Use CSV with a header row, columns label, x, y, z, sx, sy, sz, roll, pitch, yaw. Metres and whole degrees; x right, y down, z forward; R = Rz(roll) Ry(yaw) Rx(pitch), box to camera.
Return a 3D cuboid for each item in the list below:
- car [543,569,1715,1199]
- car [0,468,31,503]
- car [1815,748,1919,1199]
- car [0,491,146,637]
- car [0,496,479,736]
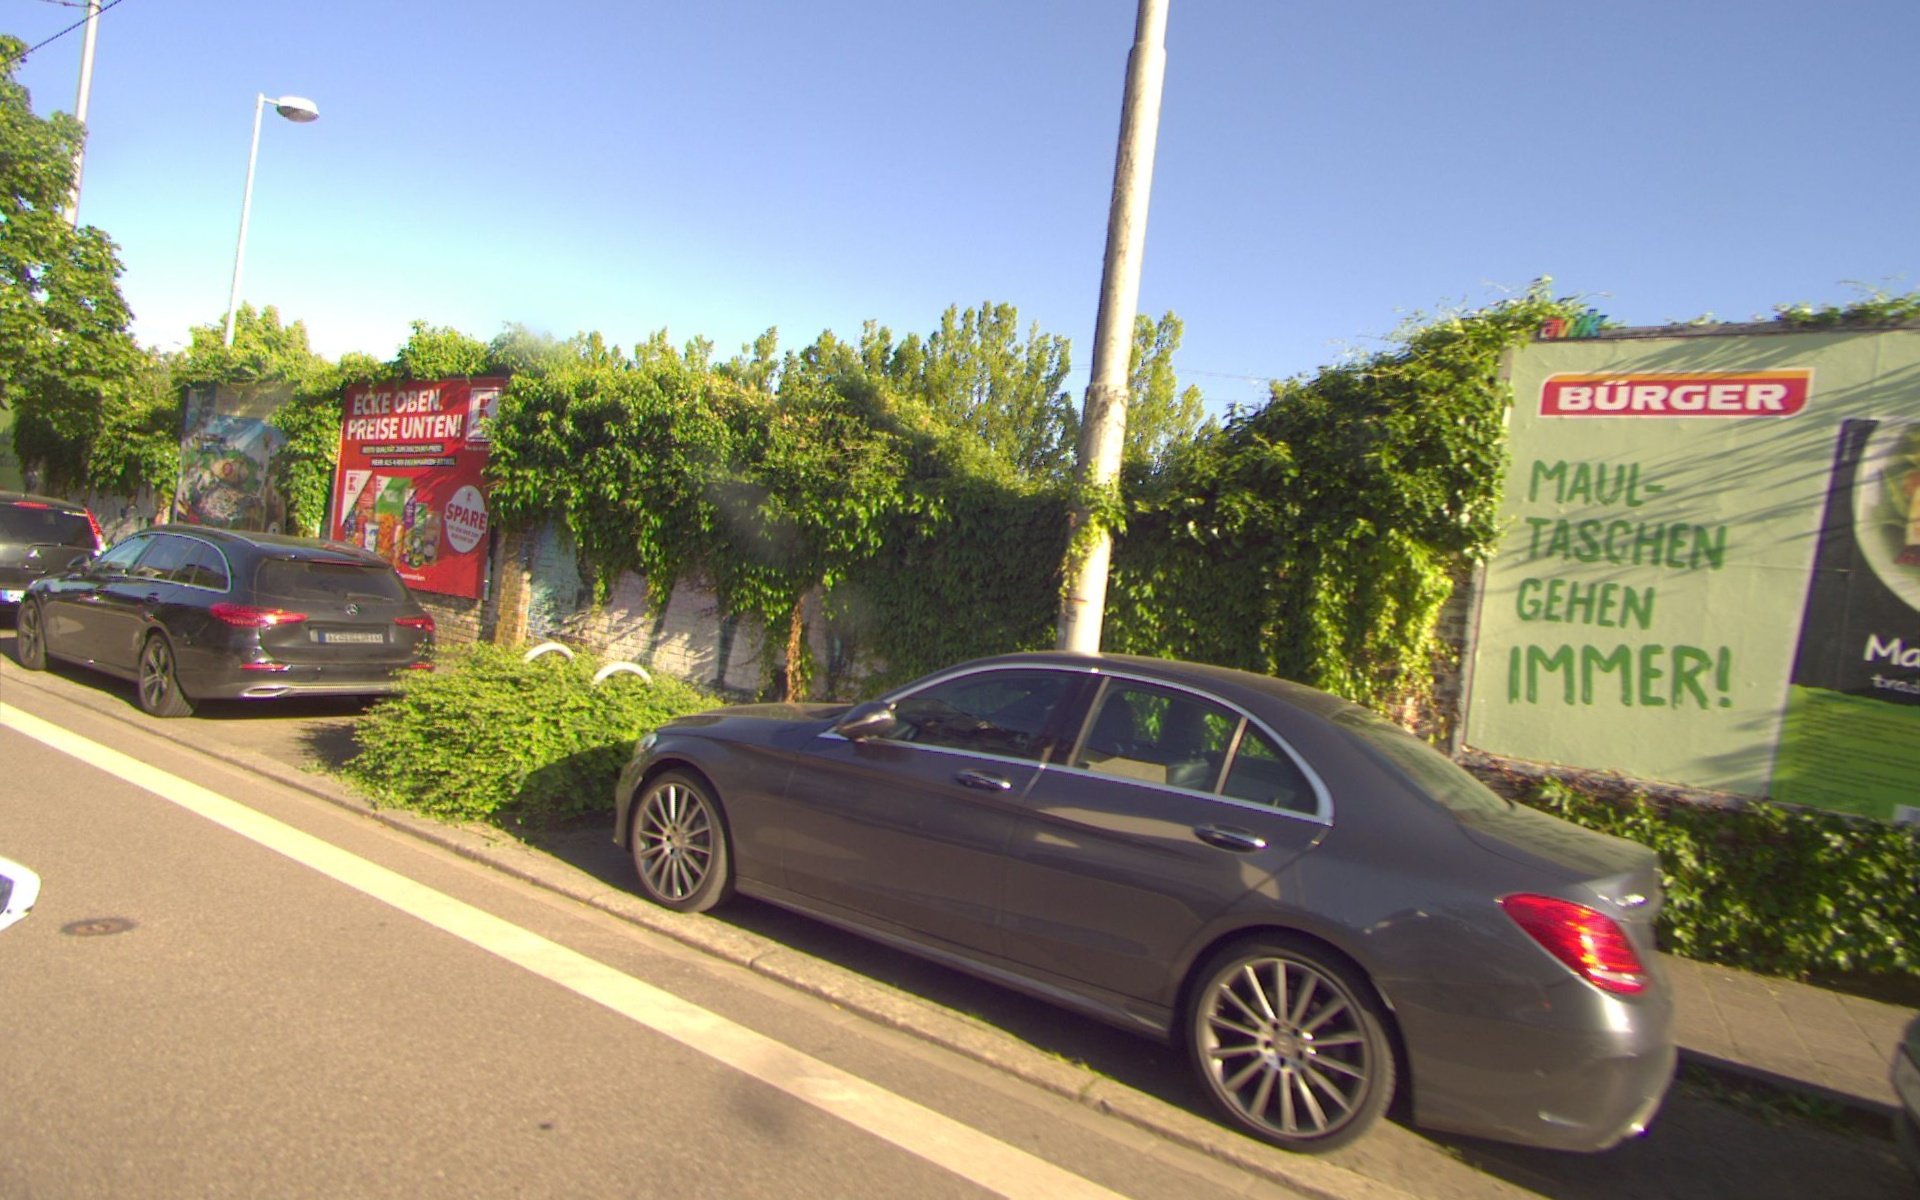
label,x,y,z,sx,sy,sz,roll,pitch,yaw
car,0.403,0.898,4.548,4.526,1.501,1.827,6,-2,32
car,-70.411,-8.515,72.713,2.103,2.268,4.201,7,0,19
car,4.711,1.427,2.174,4.009,1.489,1.876,6,-2,33
car,-11.592,-0.547,11.849,3.750,1.512,1.826,7,1,30
car,-6.512,0.056,8.884,4.565,1.470,1.827,7,-1,32
